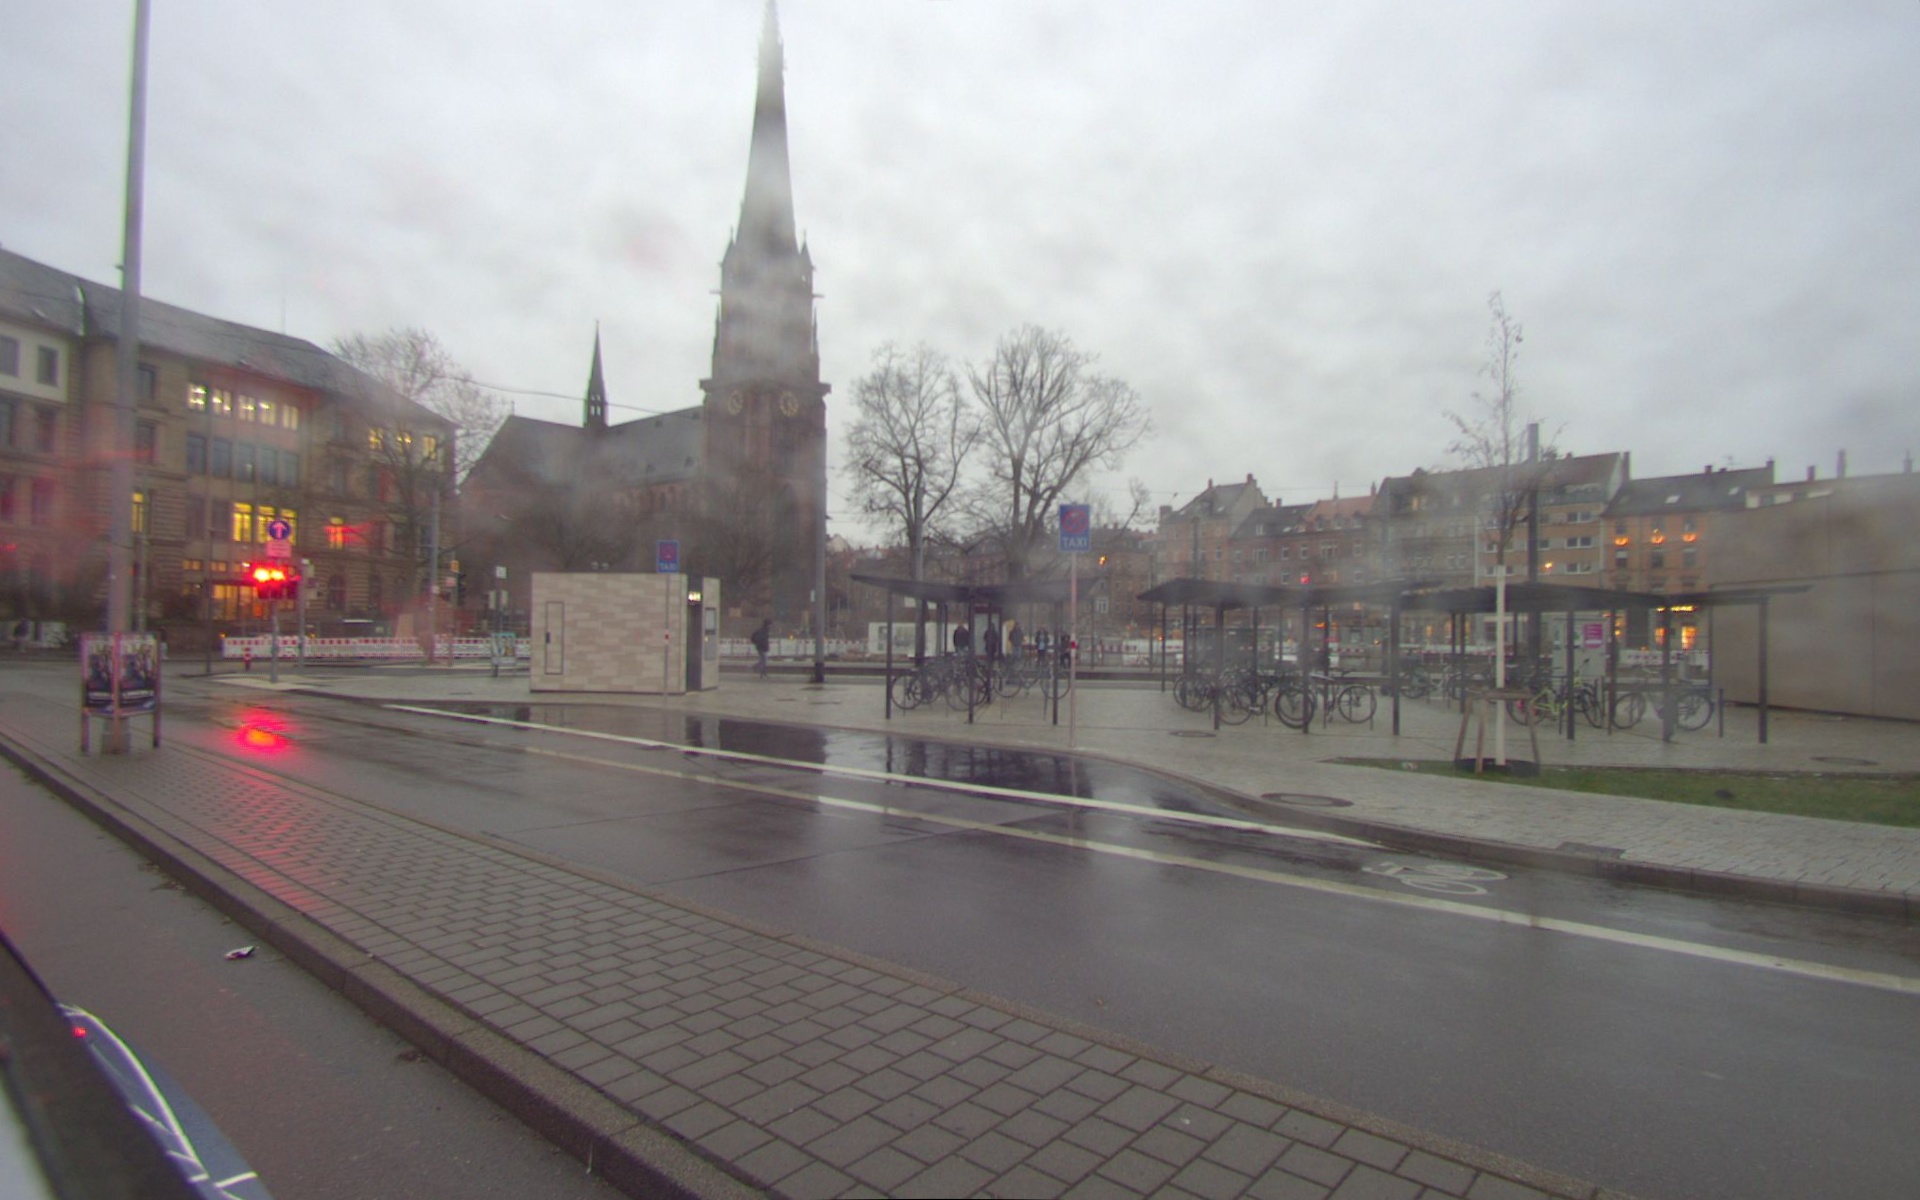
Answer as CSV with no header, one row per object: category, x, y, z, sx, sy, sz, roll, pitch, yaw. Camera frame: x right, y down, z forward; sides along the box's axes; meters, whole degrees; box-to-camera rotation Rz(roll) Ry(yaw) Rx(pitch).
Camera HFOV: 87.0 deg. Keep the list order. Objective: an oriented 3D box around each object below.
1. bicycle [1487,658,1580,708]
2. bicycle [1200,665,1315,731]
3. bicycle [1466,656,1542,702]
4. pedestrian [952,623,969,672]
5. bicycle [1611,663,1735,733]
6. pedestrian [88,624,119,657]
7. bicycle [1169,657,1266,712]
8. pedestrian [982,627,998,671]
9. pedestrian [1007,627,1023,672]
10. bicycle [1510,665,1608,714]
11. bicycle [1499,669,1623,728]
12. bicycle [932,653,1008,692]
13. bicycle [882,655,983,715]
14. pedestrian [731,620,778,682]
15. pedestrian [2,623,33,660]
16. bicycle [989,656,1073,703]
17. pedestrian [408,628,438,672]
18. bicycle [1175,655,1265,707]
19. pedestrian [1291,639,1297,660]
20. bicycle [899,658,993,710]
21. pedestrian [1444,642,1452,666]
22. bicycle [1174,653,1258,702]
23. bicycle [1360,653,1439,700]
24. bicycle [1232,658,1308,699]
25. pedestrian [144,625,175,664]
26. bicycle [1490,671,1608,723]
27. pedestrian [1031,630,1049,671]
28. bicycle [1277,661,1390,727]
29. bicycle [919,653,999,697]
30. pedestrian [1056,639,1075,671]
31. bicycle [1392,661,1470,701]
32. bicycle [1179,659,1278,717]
bicycle,13.254,1.914,23.413,1.810,1.081,0.474,1,-1,8
bicycle,5.258,1.724,17.952,1.905,1.078,0.473,1,-1,11
bicycle,13.234,1.921,24.660,1.551,1.044,0.521,1,-1,1
pedestrian,0.005,1.805,38.574,0.619,1.808,0.672,-1,0,-1
bicycle,12.691,1.730,18.042,1.731,1.165,0.617,1,-1,1
pedestrian,-45.473,2.167,53.721,0.918,1.737,0.825,0,-3,9
bicycle,5.432,1.777,21.397,1.899,1.078,0.474,1,-1,2
pedestrian,1.150,1.863,38.648,0.556,1.664,0.540,-1,0,-1
pedestrian,2.069,1.859,38.110,0.543,1.648,0.571,-1,0,-1
bicycle,12.902,1.924,21.827,1.751,0.963,0.473,1,-1,11
bicycle,11.127,1.819,18.780,1.905,0.983,0.473,1,-1,11
bicycle,0.272,1.872,26.122,1.905,0.917,0.473,1,-1,11
bicycle,-0.537,1.657,19.863,1.905,1.078,0.473,1,-1,11
pedestrian,-6.009,1.497,29.652,1.056,1.778,1.008,0,-3,10
pedestrian,-47.696,2.084,51.226,0.886,1.830,0.673,1,-2,4
bicycle,1.641,1.825,23.419,1.905,0.993,0.473,1,-1,11
pedestrian,-21.212,1.958,40.015,0.760,1.673,1.211,-1,0,-14
bicycle,5.851,1.813,22.846,1.905,1.078,0.473,1,-1,11
pedestrian,32.569,4.811,98.623,0.386,2.029,0.370,-2,-4,41
bicycle,-0.286,1.737,21.100,1.905,0.993,0.473,1,-1,11
pedestrian,41.812,4.611,86.743,0.436,2.029,0.414,3,-4,-41
bicycle,6.065,1.833,24.036,1.905,1.078,0.473,1,-1,11
bicycle,11.186,1.929,25.798,1.780,1.116,0.473,1,-1,11
bicycle,7.664,1.946,25.066,1.729,0.946,0.474,1,-1,7
pedestrian,-40.242,2.222,50.877,0.960,1.915,0.674,1,-2,-1
bicycle,11.369,1.867,19.568,1.905,0.898,0.473,1,-1,11
pedestrian,3.035,1.914,38.328,0.580,1.513,0.675,-1,0,-1
bicycle,6.947,1.739,18.863,1.905,1.129,0.473,1,-1,11
bicycle,-0.013,1.832,24.865,1.905,0.993,0.473,1,-1,11
pedestrian,3.982,2.076,38.320,0.610,1.165,0.806,-1,0,-1
bicycle,11.622,1.996,24.988,1.672,0.898,0.474,1,-1,5
bicycle,5.434,1.778,20.543,1.905,1.078,0.473,1,-1,11
